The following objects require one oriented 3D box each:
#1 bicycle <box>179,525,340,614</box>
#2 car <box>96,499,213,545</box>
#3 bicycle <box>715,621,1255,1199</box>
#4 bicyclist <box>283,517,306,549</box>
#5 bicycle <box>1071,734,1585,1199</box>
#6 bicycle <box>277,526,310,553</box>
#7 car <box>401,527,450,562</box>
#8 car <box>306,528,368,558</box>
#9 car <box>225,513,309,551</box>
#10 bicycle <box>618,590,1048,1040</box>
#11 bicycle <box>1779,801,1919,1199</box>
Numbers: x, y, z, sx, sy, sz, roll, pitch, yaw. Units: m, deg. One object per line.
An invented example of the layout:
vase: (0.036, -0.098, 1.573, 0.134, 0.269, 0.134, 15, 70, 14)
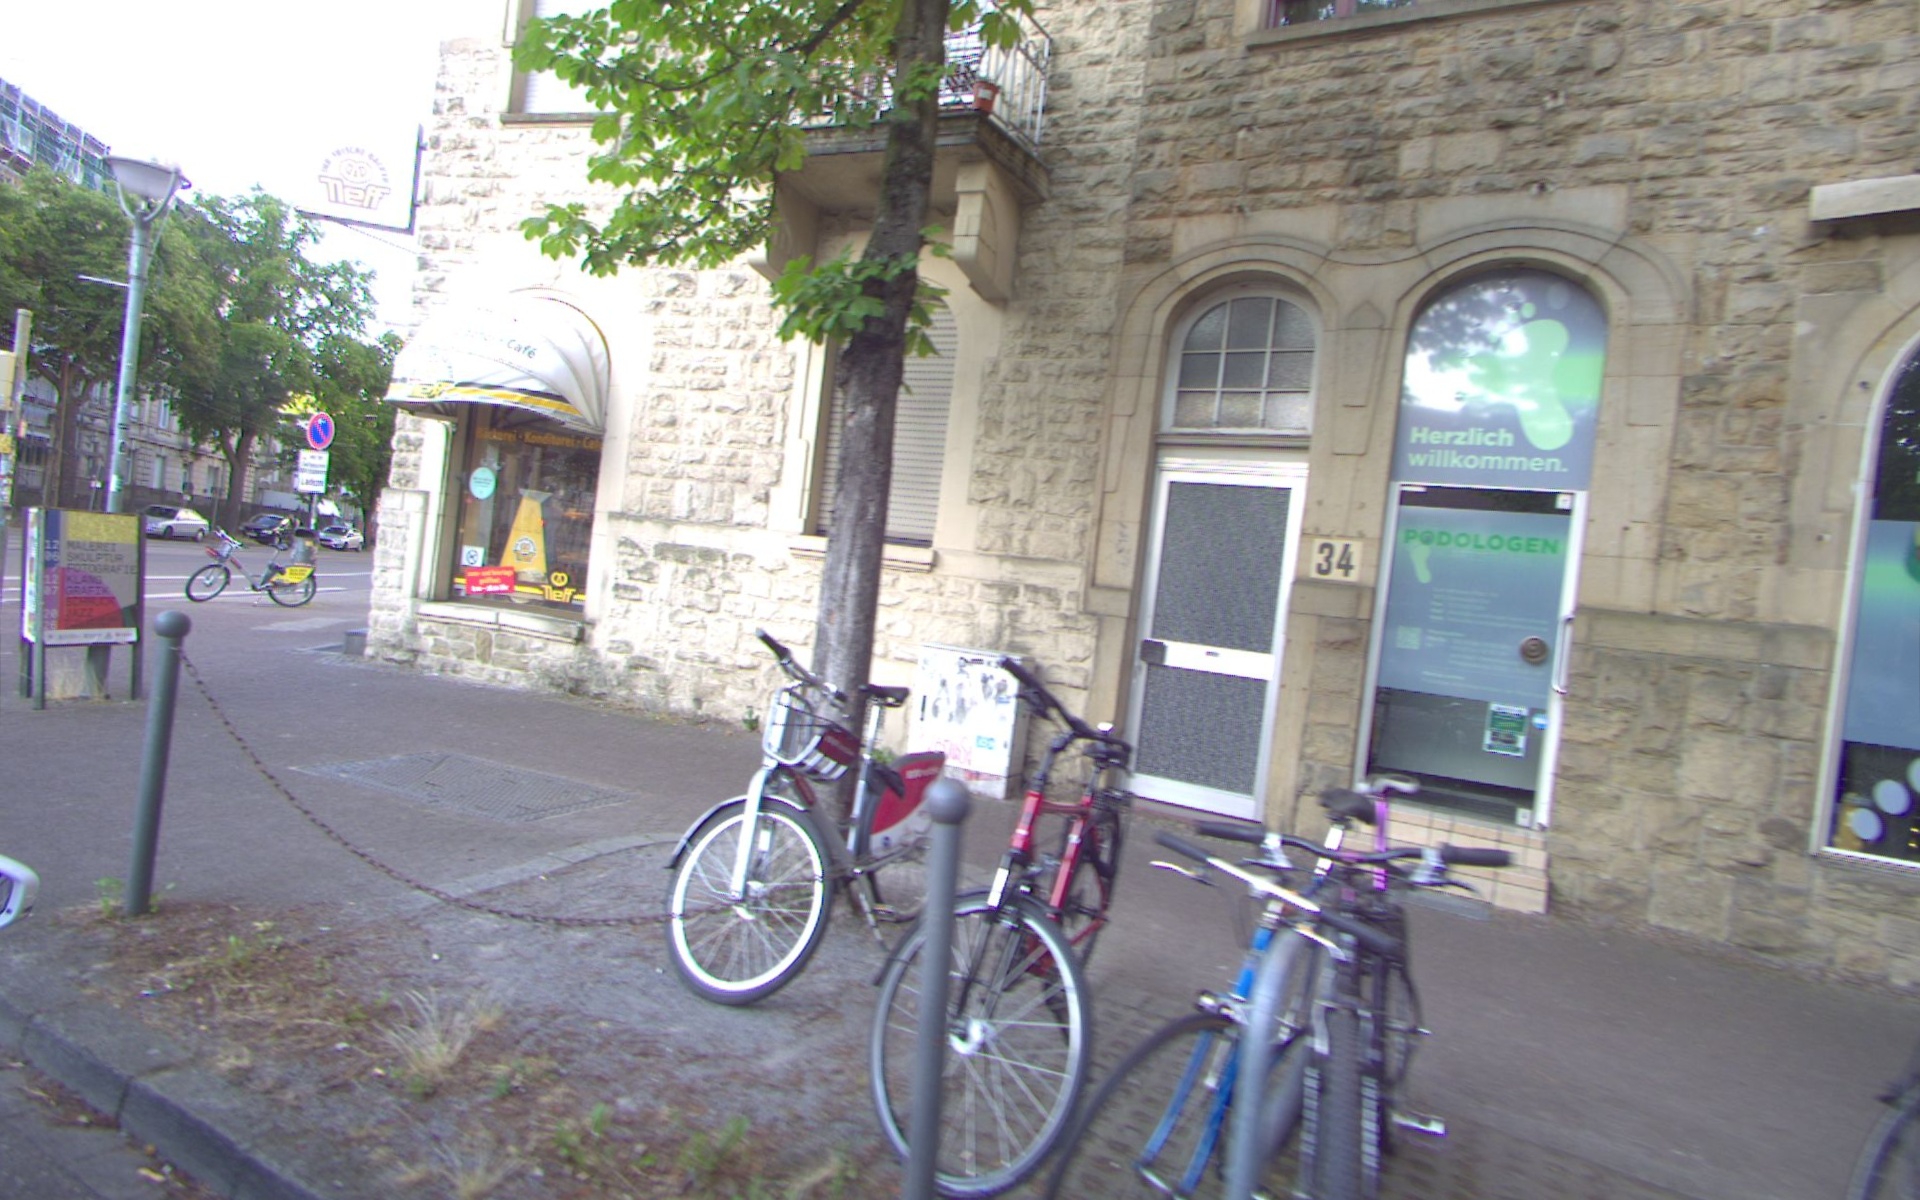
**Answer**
bicycle: (-10.802, -0.452, 15.564, 0.721, 1.144, 1.869, 7, 0, 42)
car: (-34.742, -3.316, 43.575, 1.978, 1.444, 4.620, 7, 0, -12)
bicycle: (0.236, 0.758, 2.855, 0.687, 1.252, 1.791, 7, 0, 28)
bicyclist: (-32.566, -3.283, 49.218, 0.545, 1.446, 0.735, 6, 1, -5)
bicycle: (0.929, 0.946, 2.383, 0.687, 1.051, 1.804, 7, 0, 28)
bicycle: (-32.597, -2.963, 49.223, 0.545, 1.162, 1.606, 7, 0, -5)
car: (-42.621, -4.381, 80.364, 1.918, 2.344, 4.622, 7, 0, -10)
car: (-38.688, -3.526, 62.591, 1.920, 1.500, 4.307, 7, 0, -15)
car: (-36.845, -3.585, 53.638, 1.917, 1.501, 4.162, 7, 0, -8)
bicycle: (-0.348, 0.675, 3.863, 0.639, 1.252, 1.791, 7, 0, 26)
bicycle: (1.931, 1.056, 1.512, 0.629, 1.177, 1.889, 7, 0, 28)
